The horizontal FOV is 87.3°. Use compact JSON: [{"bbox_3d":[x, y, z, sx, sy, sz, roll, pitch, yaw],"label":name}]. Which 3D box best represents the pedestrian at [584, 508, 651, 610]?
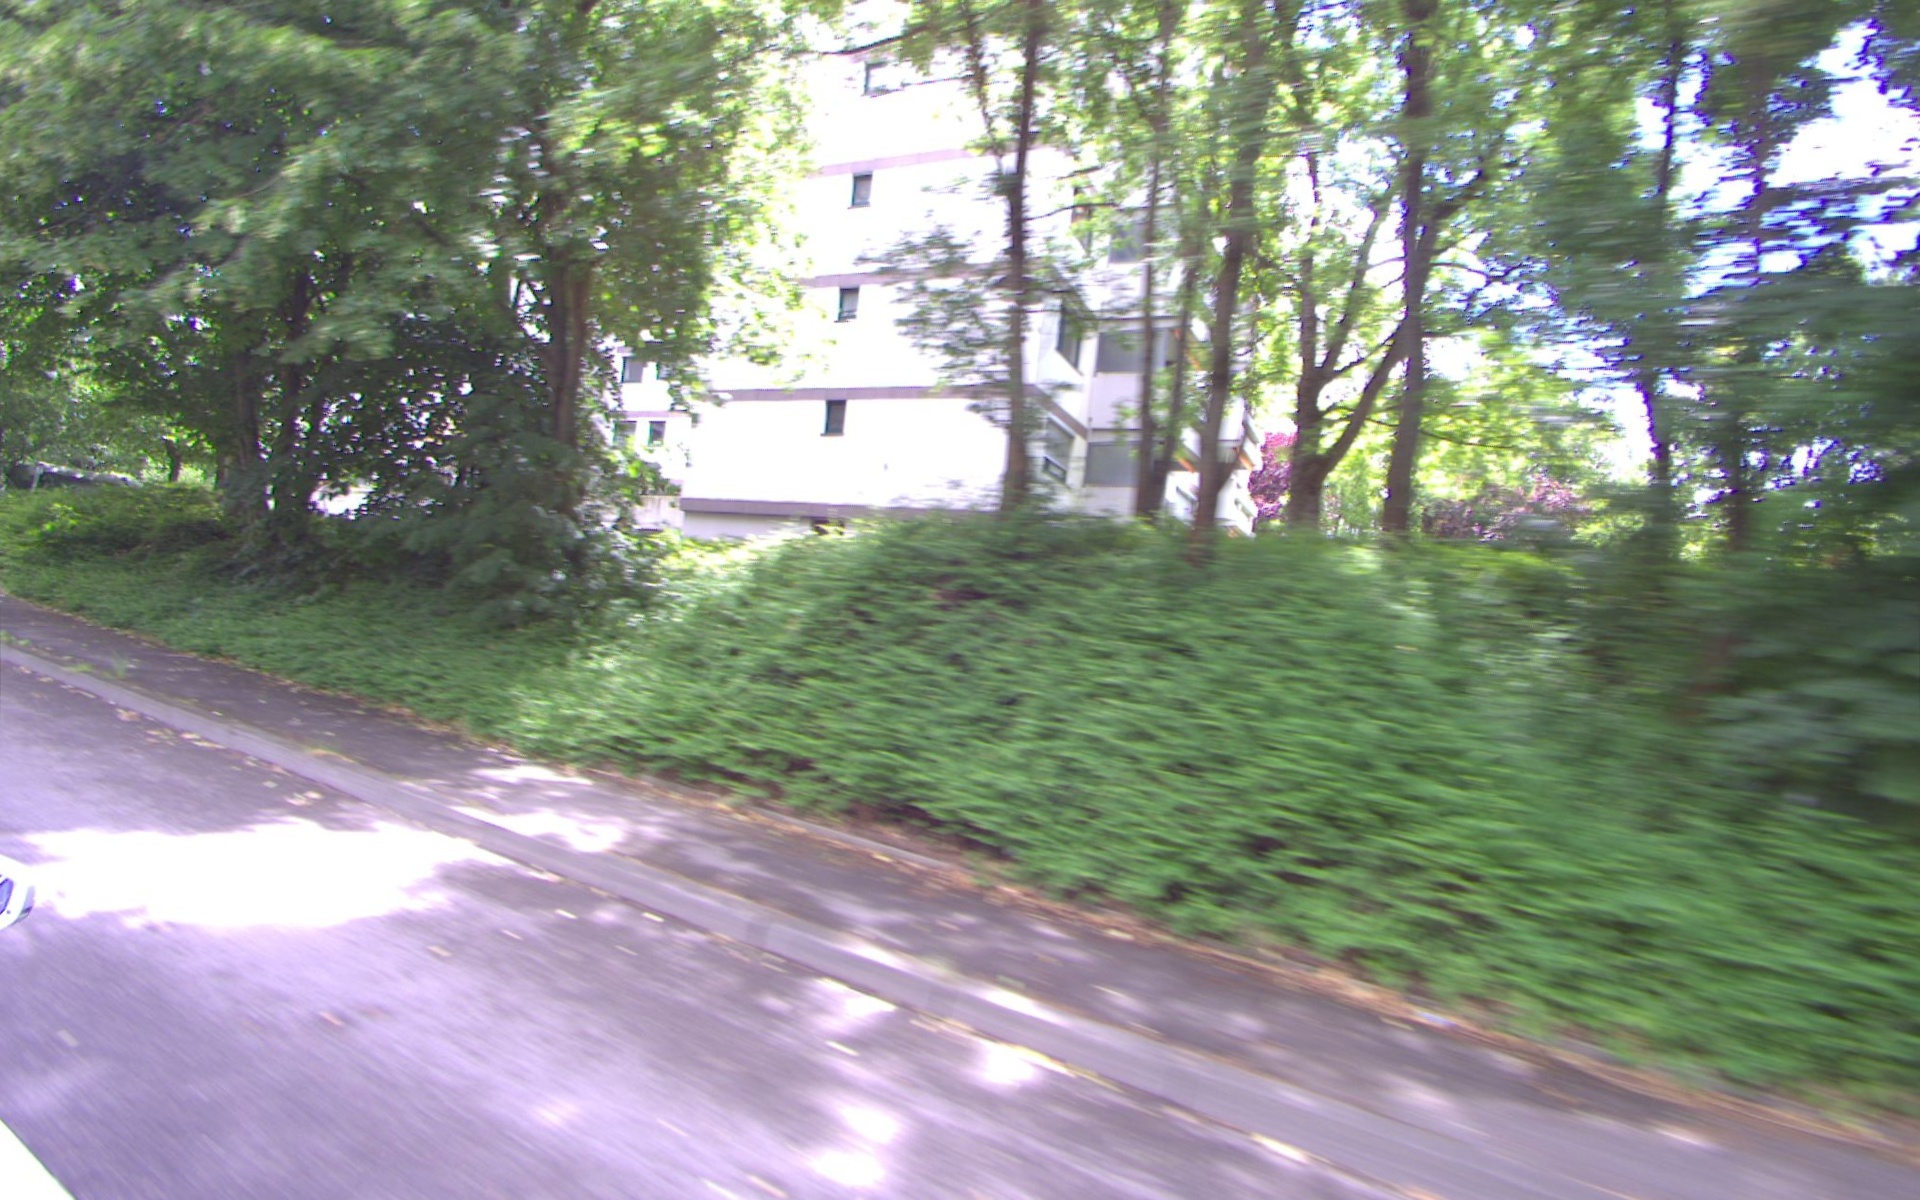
[{"bbox_3d":[-7.399,-0.881,21.754,0.867,2.037,0.759,7,0,31],"label":"pedestrian"}]
